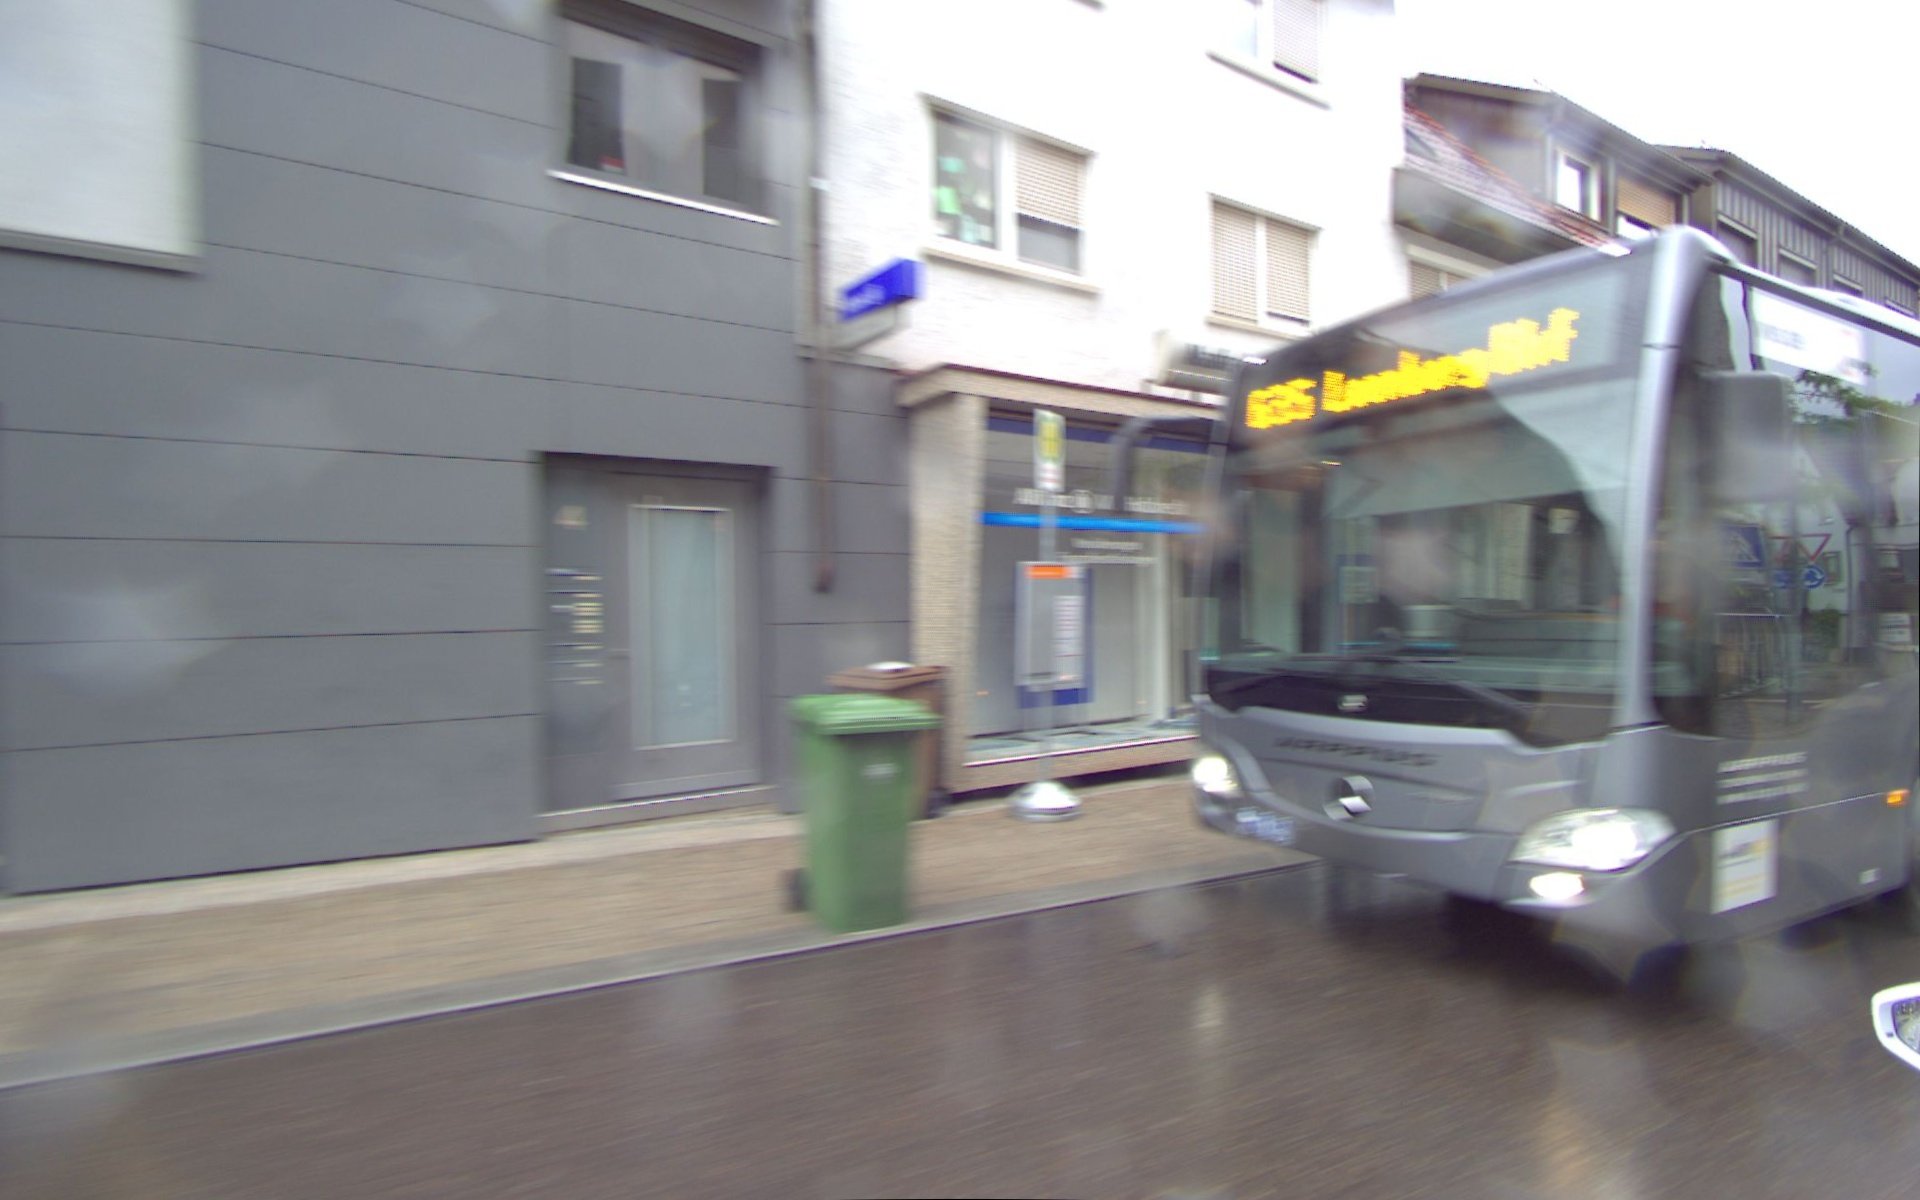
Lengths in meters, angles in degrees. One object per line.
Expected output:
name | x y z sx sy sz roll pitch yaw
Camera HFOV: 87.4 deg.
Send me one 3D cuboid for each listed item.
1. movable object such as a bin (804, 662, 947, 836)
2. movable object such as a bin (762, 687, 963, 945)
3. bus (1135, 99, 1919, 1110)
movable object such as a bin | -0.601 0.996 7.013 0.694 1.073 0.788 1 0 -33
movable object such as a bin | -0.494 1.003 4.977 0.718 1.073 0.736 1 0 -33
bus | 6.309 0.078 6.974 10.814 3.121 2.711 1 0 -30
